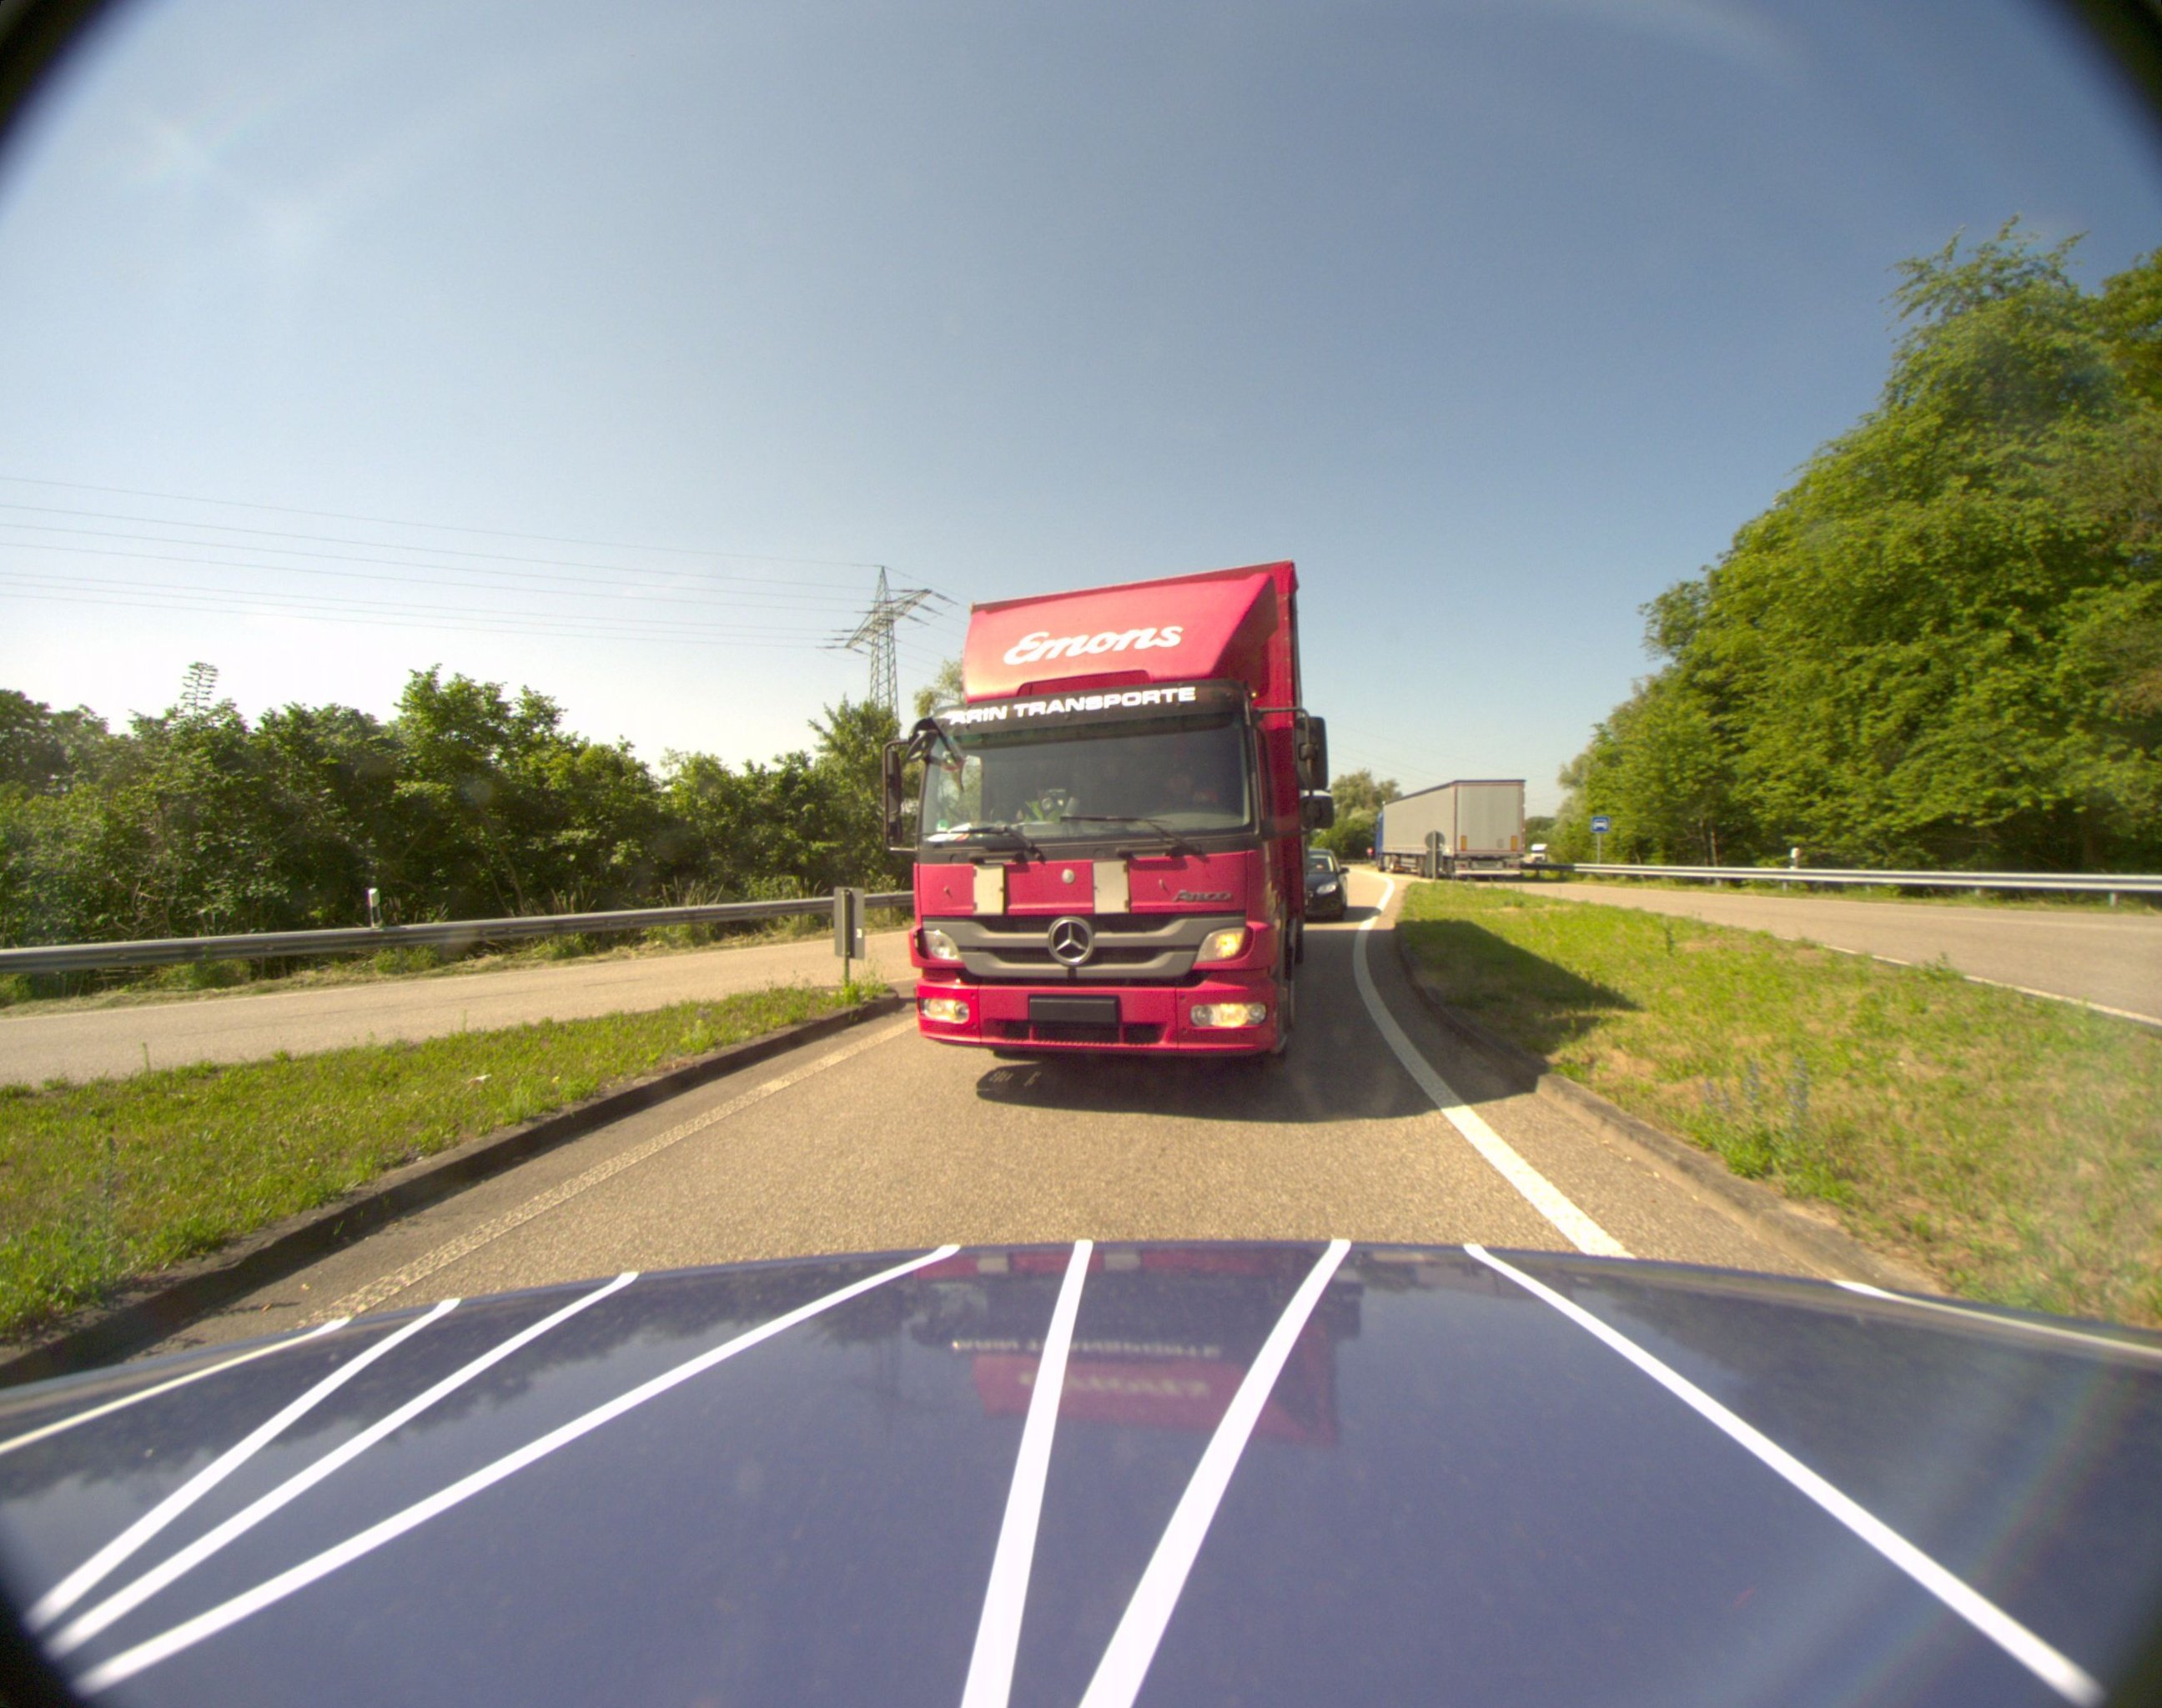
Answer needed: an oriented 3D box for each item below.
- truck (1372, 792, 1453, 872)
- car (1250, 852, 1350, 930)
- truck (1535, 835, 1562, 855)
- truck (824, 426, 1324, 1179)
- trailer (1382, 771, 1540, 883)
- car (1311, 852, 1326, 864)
[{"bbox_3d":[18.610,-1.213,43.014,2.936,4.222,5.737,1,1,11],"label":"truck"},{"bbox_3d":[4.840,0.714,16.433,1.785,1.406,4.005,-1,0,20],"label":"car"},{"bbox_3d":[101.853,-2.007,165.464,5.743,4.214,2.932,0,1,-35],"label":"truck"},{"bbox_3d":[1.183,-0.266,8.499,2.686,3.640,9.273,-1,0,17],"label":"truck"},{"bbox_3d":[17.213,-1.077,35.898,2.955,4.243,13.992,1,1,11],"label":"trailer"},{"bbox_3d":[30.398,0.467,97.265,1.785,1.377,4.383,-2,0,17],"label":"car"}]
